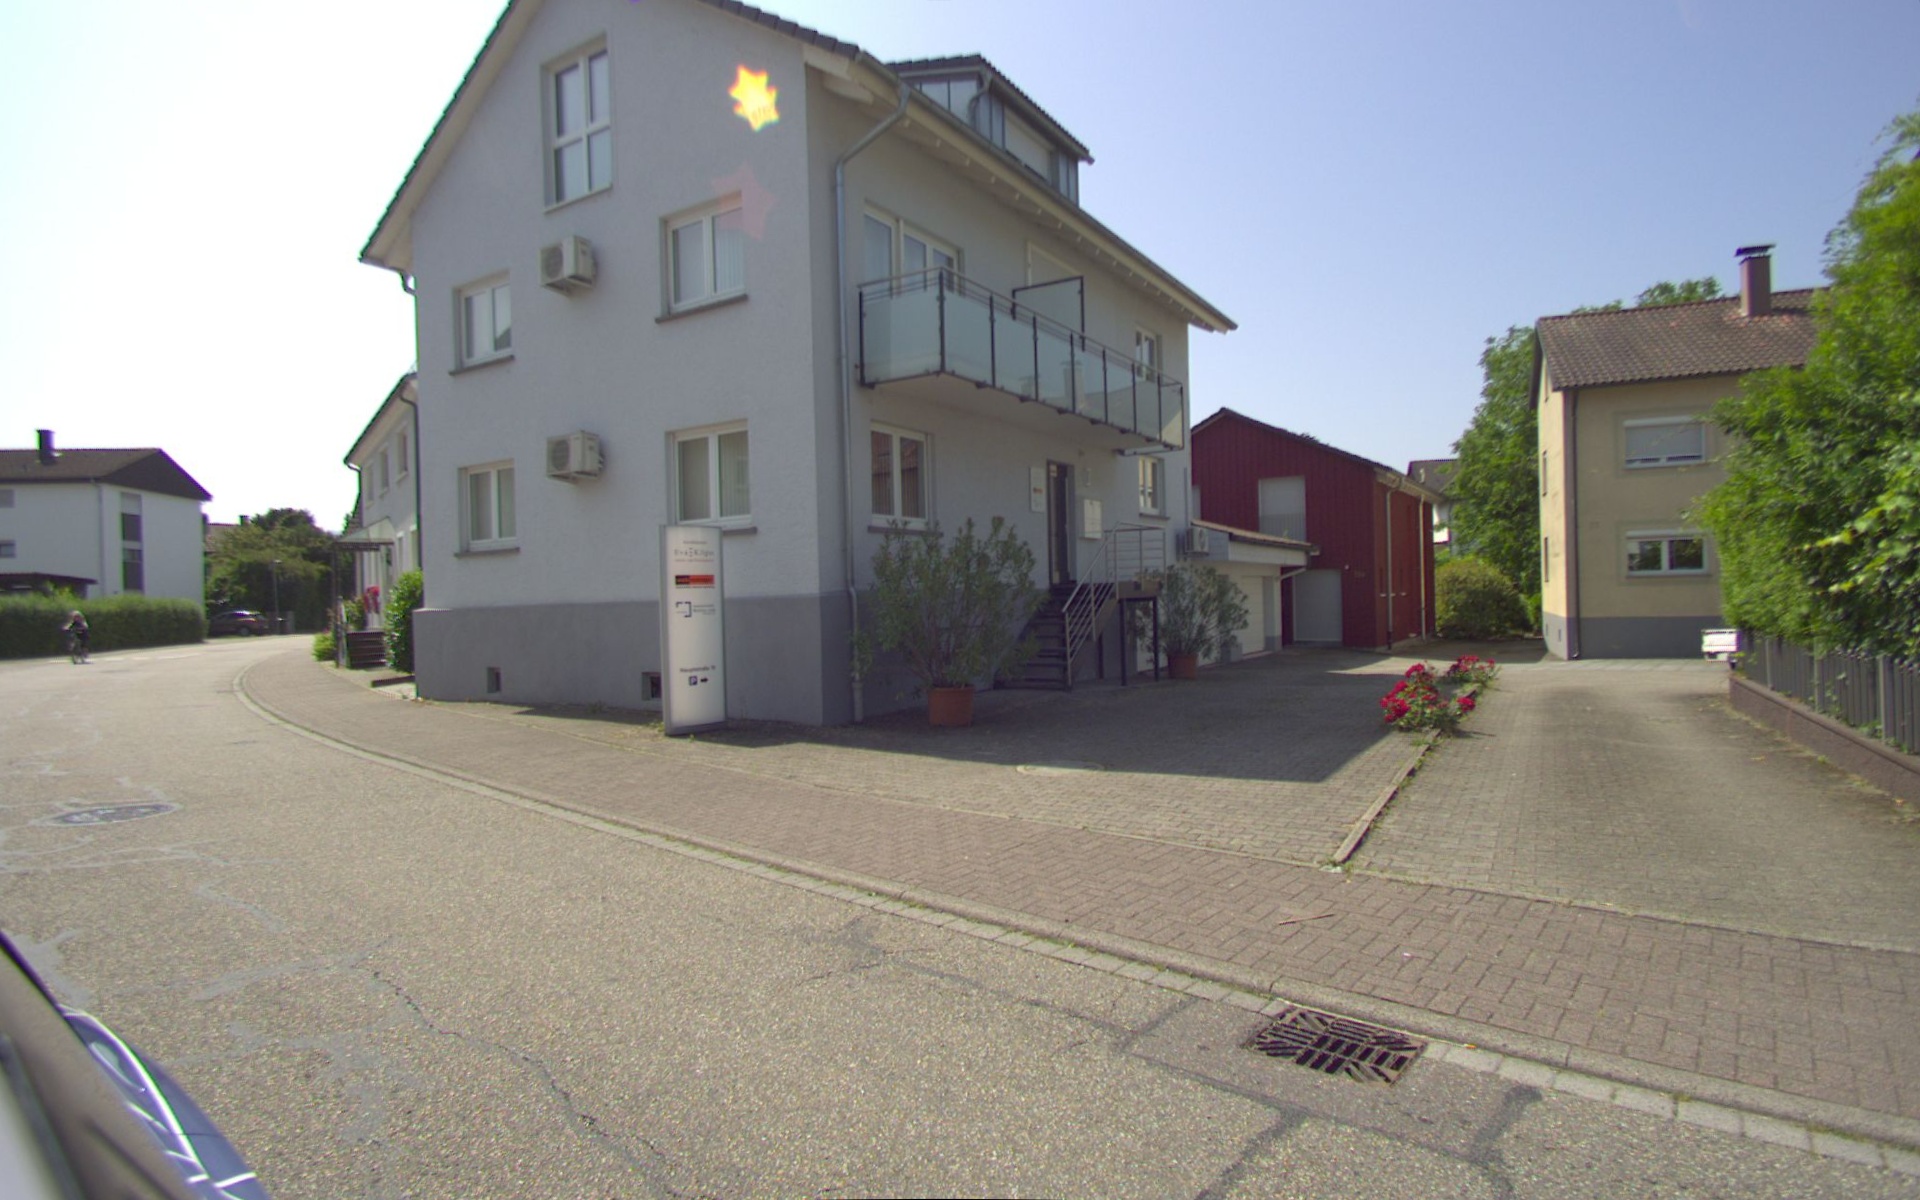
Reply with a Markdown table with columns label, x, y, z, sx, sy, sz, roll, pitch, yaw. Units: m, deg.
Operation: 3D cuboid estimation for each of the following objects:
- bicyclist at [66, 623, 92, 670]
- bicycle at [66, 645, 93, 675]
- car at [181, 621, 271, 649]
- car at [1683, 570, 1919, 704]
| label | x | y | z | sx | sy | sz | roll | pitch | yaw |
| --- | --- | --- | --- | --- | --- | --- | --- | --- | --- |
| bicyclist | -28.948 | 1.526 | 33.269 | 0.538 | 1.501 | 0.799 | -1 | -1 | -34 |
| bicycle | -28.955 | 1.969 | 33.288 | 0.513 | 0.911 | 1.316 | -1 | -1 | -34 |
| car | -46.995 | 2.224 | 64.925 | 4.220 | 1.684 | 2.071 | 0 | -1 | -16 |
| car | 13.215 | 0.551 | 14.708 | 4.595 | 1.769 | 1.733 | 1 | -2 | -13 |
